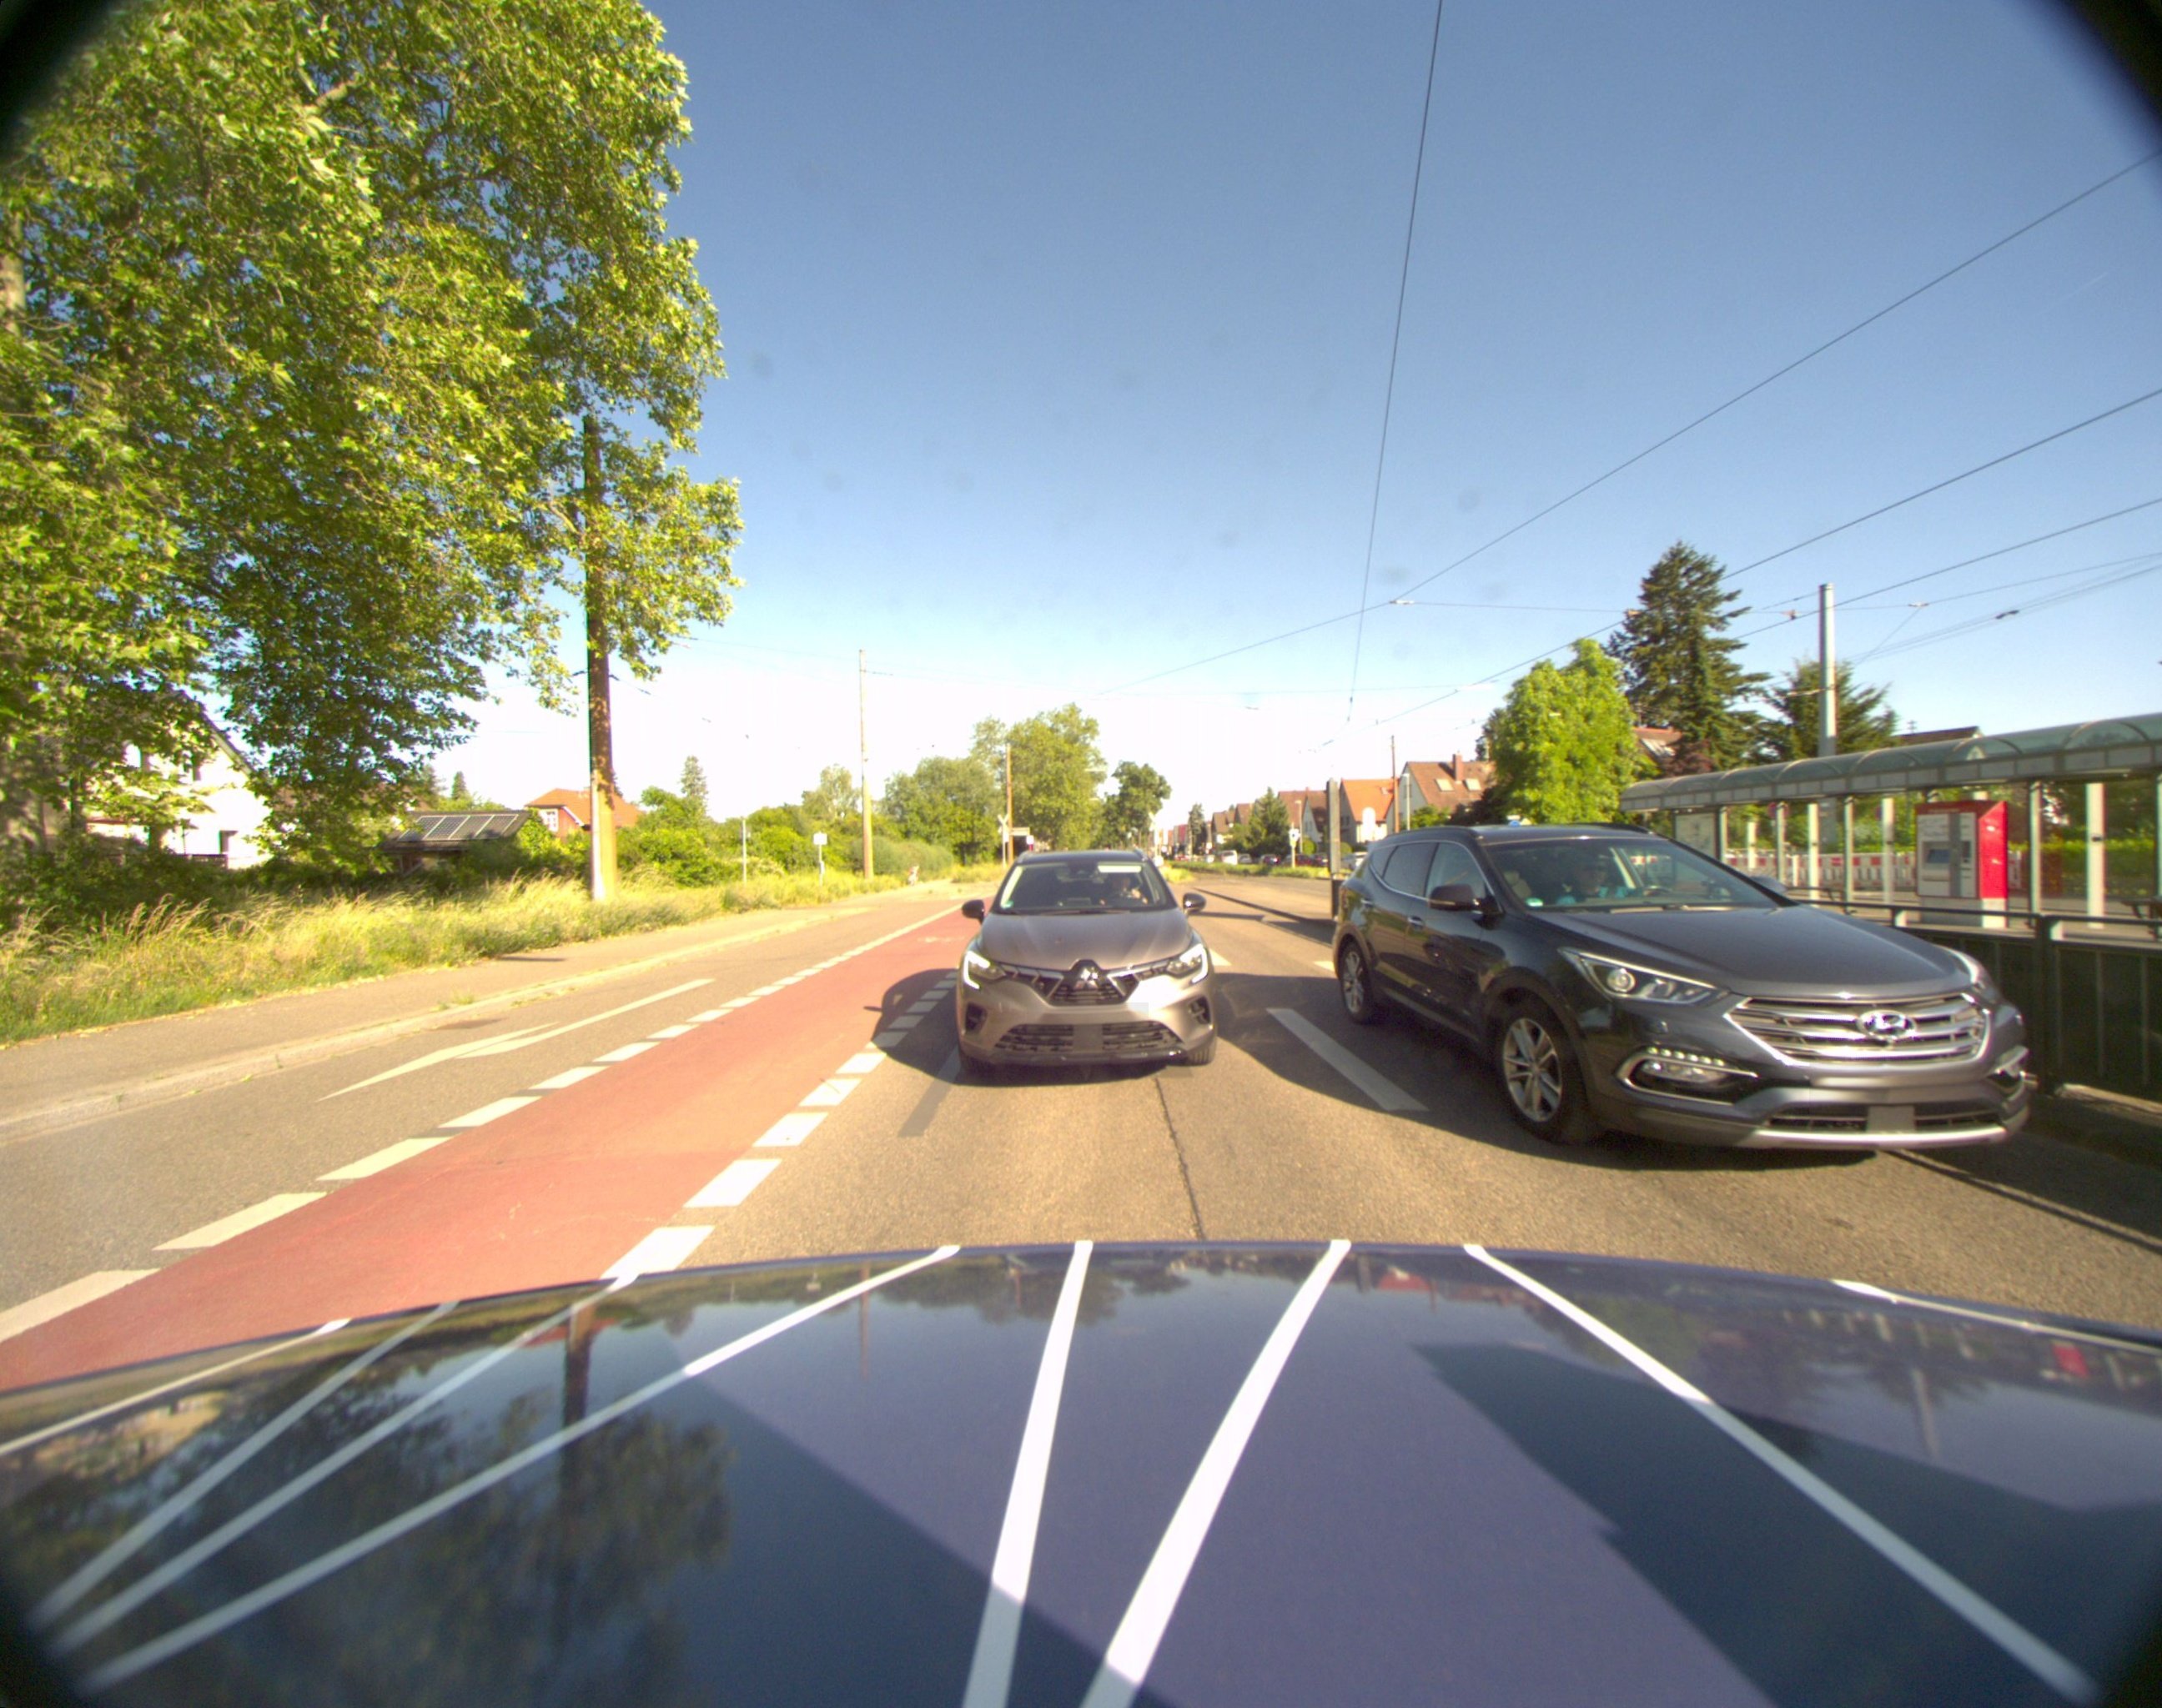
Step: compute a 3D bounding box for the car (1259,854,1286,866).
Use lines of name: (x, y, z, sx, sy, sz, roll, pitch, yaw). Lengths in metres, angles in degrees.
car: (22.133, 0.664, 87.978, 1.998, 1.363, 4.310, -2, 0, 1)

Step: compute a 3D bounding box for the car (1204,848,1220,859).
car: (22.075, -0.104, 127.953, 1.998, 1.852, 4.584, -2, 0, 1)

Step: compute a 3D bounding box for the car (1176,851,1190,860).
car: (17.488, 0.295, 130.628, 1.740, 1.511, 4.344, -1, 0, 0)

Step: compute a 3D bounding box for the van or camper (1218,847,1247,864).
van or camper: (17.288, 0.172, 86.959, 1.999, 1.817, 5.987, -1, 0, -1)

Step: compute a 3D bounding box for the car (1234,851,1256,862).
car: (22.065, 0.332, 102.350, 1.888, 1.464, 4.838, -3, 0, 1)

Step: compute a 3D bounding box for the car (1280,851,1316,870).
car: (16.829, 0.485, 59.154, 1.608, 1.395, 4.015, 1, 1, 0)

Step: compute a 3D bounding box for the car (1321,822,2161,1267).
car: (3.133, 0.710, 4.956, 1.780, 1.620, 4.288, -1, 0, 0)

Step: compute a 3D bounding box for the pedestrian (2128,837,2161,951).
pedestrian: (14.230, 0.516, 9.418, 1.063, 1.444, 1.007, 1, 1, 0)

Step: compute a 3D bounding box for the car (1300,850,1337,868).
car: (21.623, 0.401, 69.374, 1.912, 1.457, 4.440, -3, 1, 0)

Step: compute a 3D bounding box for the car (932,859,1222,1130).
car: (-0.038, 0.837, 6.271, 1.673, 1.529, 3.586, -2, 0, -1)

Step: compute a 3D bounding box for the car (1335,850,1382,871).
car: (21.727, 0.449, 59.584, 1.888, 1.464, 4.613, -3, 1, -1)
